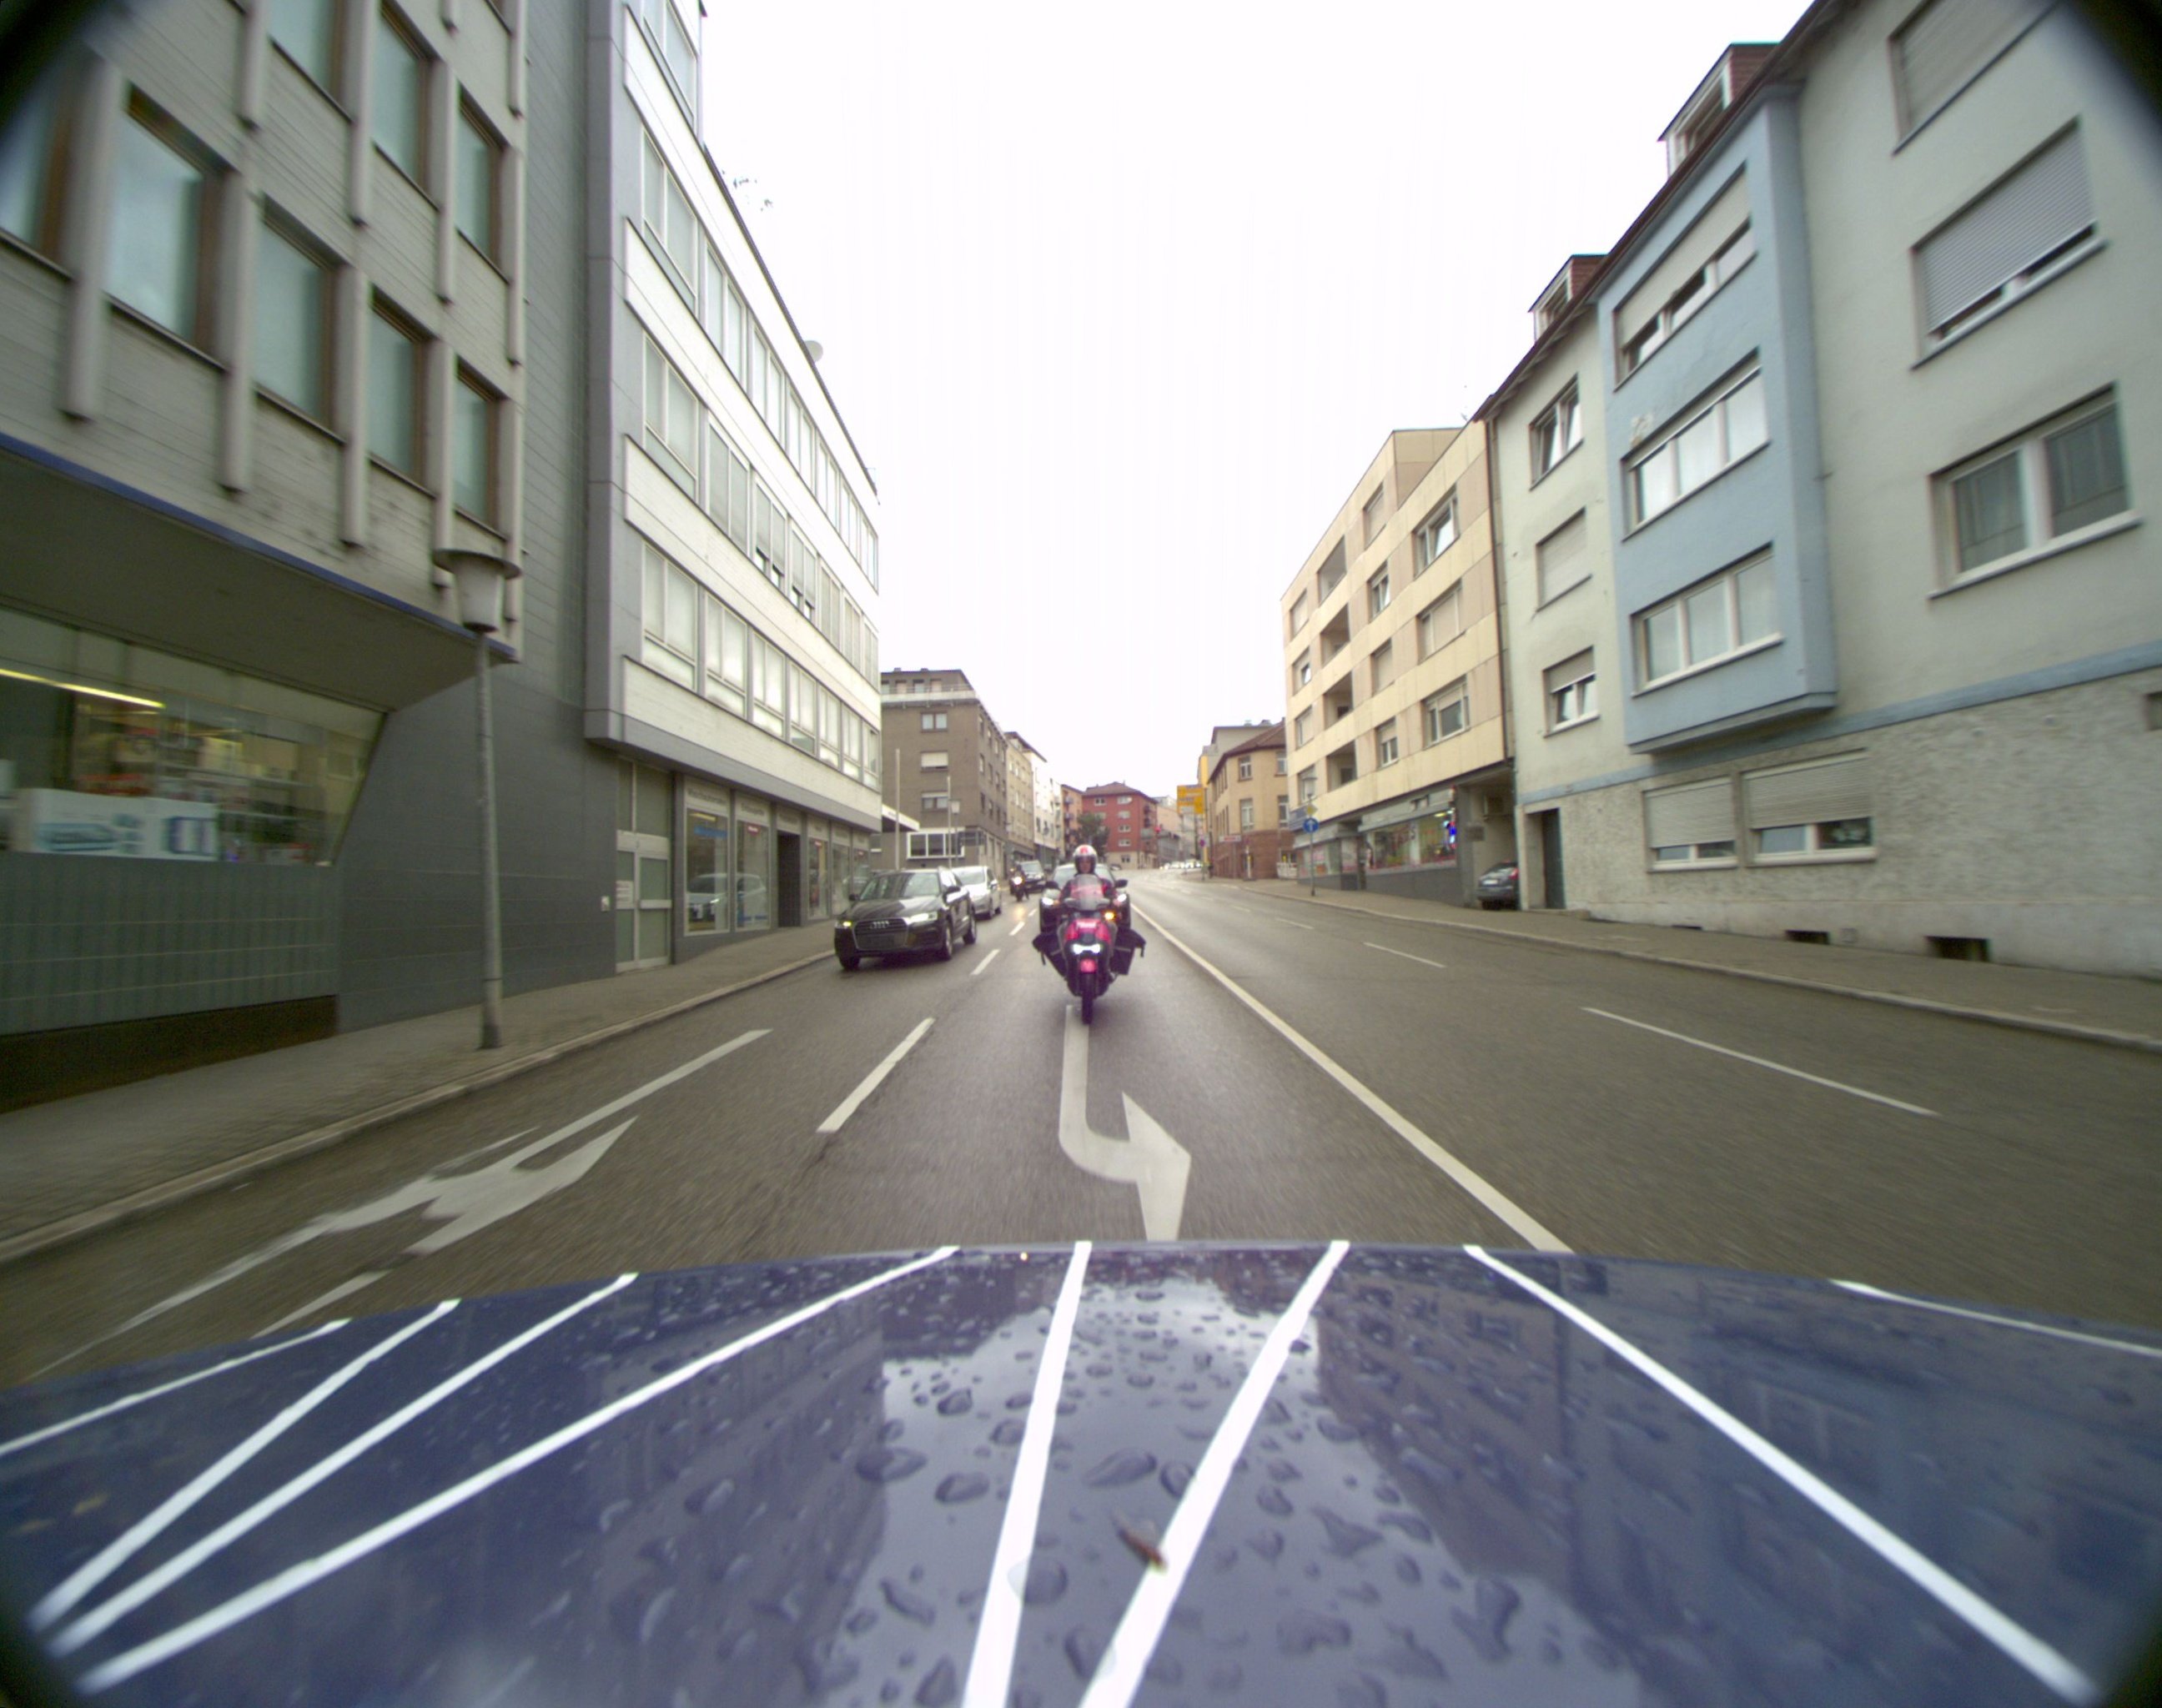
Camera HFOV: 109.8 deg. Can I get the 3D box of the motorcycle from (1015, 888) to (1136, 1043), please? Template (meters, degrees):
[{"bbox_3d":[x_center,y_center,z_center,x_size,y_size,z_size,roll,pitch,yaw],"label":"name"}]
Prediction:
[{"bbox_3d":[0.013,1.062,8.137,1.010,1.218,2.694,-3,0,3],"label":"motorcycle"}]

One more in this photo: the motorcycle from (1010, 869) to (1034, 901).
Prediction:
[{"bbox_3d":[-2.487,1.285,32.074,0.847,1.218,2.372,-5,0,-4],"label":"motorcycle"}]

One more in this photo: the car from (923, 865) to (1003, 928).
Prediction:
[{"bbox_3d":[-3.449,1.207,22.979,1.831,1.532,4.251,-5,0,-3],"label":"car"}]

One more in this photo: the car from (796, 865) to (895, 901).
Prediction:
[{"bbox_3d":[-10.200,1.248,33.188,4.001,1.392,1.669,-2,0,-14],"label":"car"}]

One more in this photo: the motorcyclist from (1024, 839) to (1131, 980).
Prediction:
[{"bbox_3d":[-0.018,0.567,8.101,1.010,1.373,0.835,-3,0,3],"label":"motorcyclist"}]

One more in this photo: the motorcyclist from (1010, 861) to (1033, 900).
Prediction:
[{"bbox_3d":[-2.511,1.107,31.976,0.847,1.580,0.962,-5,0,-5],"label":"motorcyclist"}]

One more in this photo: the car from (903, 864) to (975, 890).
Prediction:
[{"bbox_3d":[-9.910,1.570,53.267,4.531,1.495,2.001,-4,0,5],"label":"car"}]

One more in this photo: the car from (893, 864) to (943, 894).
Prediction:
[{"bbox_3d":[-9.241,1.387,43.402,1.793,1.503,4.438,-2,0,1],"label":"car"}]

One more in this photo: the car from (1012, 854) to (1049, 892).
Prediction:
[{"bbox_3d":[-2.700,0.986,40.643,1.849,1.892,3.764,-2,0,-4],"label":"car"}]

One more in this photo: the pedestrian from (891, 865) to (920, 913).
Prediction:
[{"bbox_3d":[-5.797,1.141,25.148,0.767,1.542,0.890,1,1,-3],"label":"pedestrian"}]

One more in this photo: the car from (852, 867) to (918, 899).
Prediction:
[{"bbox_3d":[-9.547,1.392,37.413,1.792,1.407,4.616,-1,0,3],"label":"car"}]

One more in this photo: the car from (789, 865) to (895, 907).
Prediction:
[{"bbox_3d":[-9.737,1.289,31.225,4.002,1.521,1.761,-2,0,-15],"label":"car"}]

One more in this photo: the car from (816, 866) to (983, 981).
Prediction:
[{"bbox_3d":[-3.045,1.099,13.733,1.827,1.551,4.201,-4,0,1],"label":"car"}]

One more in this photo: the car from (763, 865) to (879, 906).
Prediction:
[{"bbox_3d":[-9.738,1.185,28.767,4.003,1.441,1.796,2,-1,-16],"label":"car"}]

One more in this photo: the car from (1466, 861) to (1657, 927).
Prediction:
[{"bbox_3d":[12.514,1.038,19.907,4.000,1.342,1.678,5,-3,-7],"label":"car"}]

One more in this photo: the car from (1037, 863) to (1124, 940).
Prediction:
[{"bbox_3d":[0.093,0.999,17.784,1.705,1.451,4.319,-4,0,3],"label":"car"}]

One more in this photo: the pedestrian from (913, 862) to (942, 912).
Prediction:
[{"bbox_3d":[-5.361,1.126,26.562,0.786,1.696,1.120,1,1,-2],"label":"pedestrian"}]
